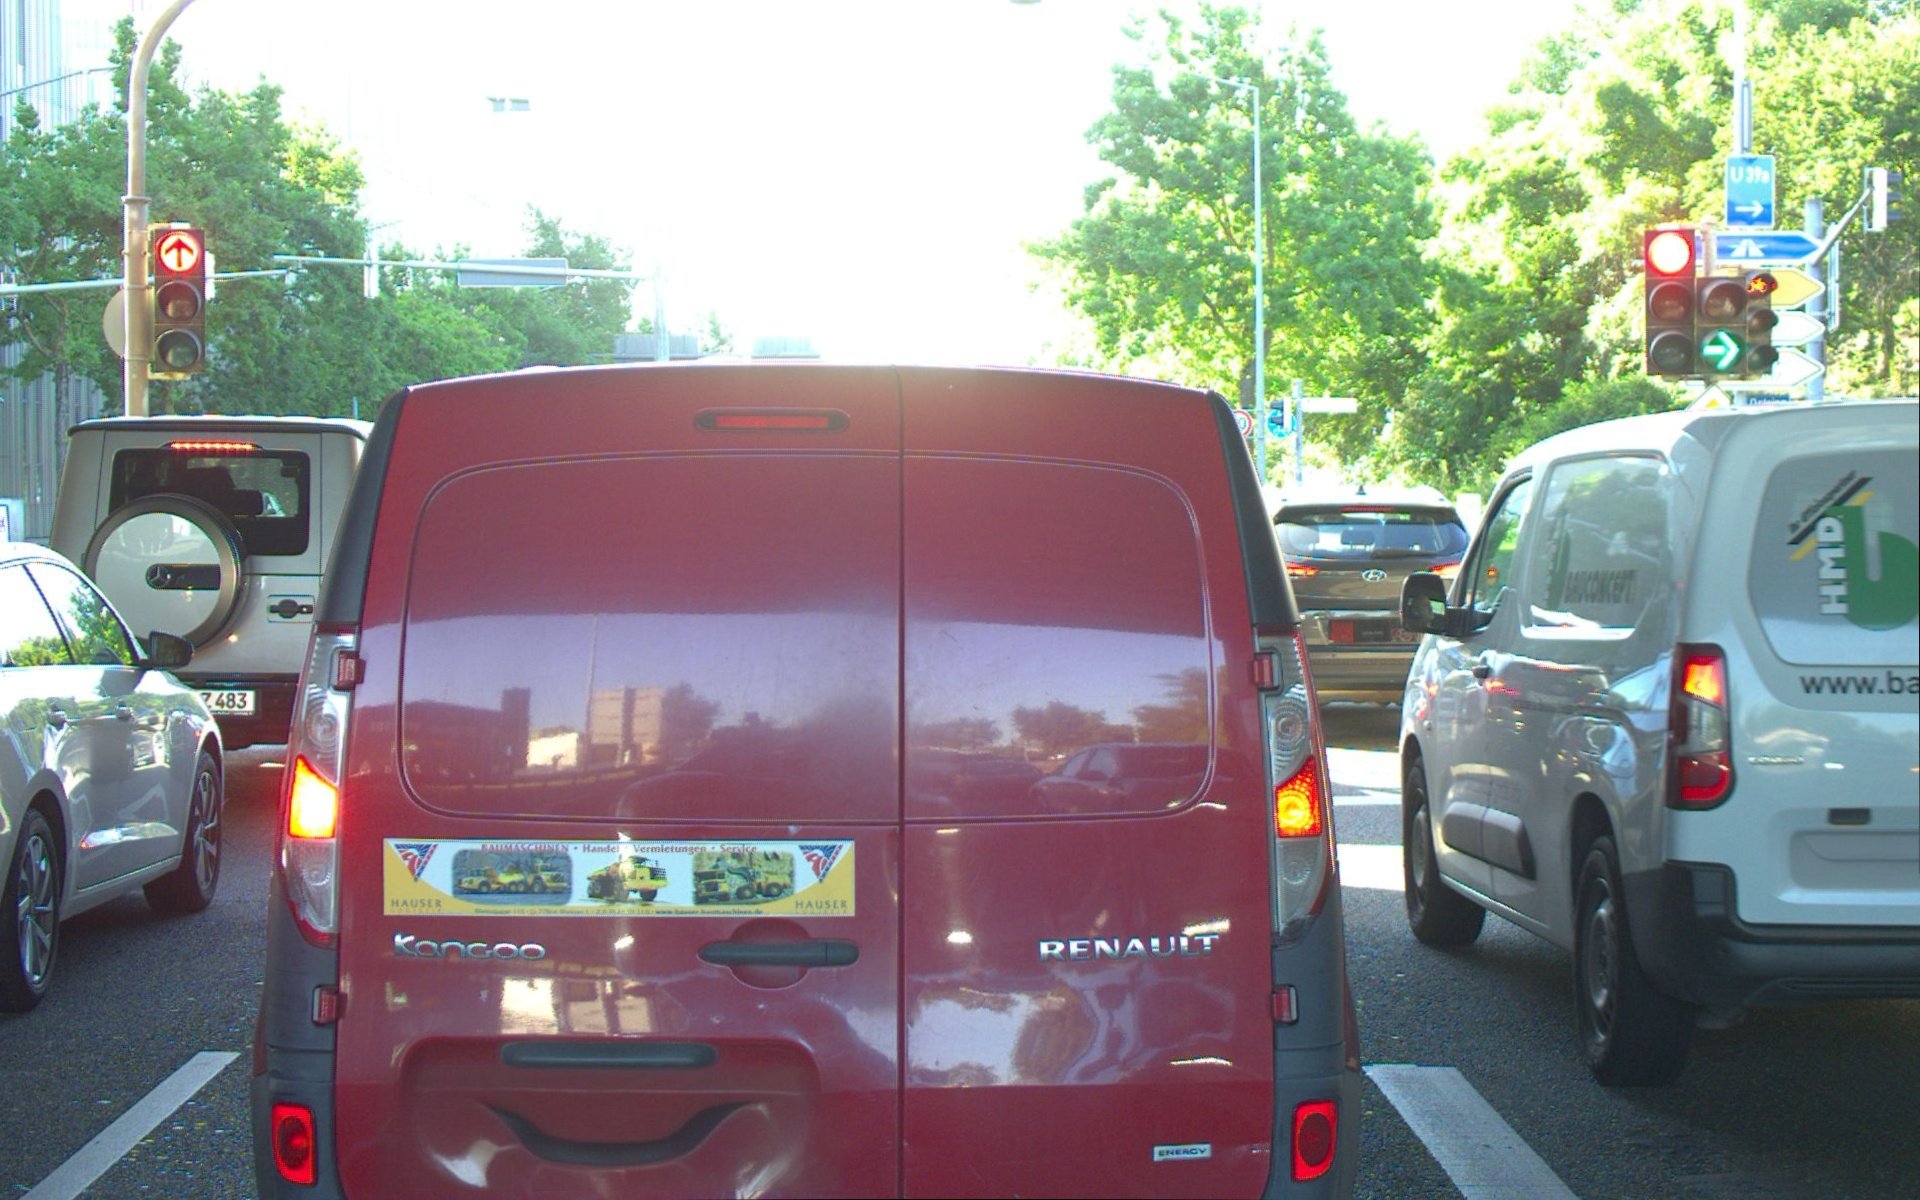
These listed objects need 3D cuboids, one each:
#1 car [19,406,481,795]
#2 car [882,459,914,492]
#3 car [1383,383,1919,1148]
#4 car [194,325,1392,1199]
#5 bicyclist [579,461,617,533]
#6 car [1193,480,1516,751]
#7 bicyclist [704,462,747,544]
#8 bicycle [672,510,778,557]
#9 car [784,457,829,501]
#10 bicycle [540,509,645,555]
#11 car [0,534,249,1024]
[{"bbox_3d":[-3.769,-0.035,18.878,1.813,1.897,3.814,1,1,-1],"label":"car"},{"bbox_3d":[-3.957,-7.999,220.681,1.993,2.007,4.000,1,1,-1],"label":"car"},{"bbox_3d":[2.499,0.320,10.371,1.813,1.827,4.301,0,2,-1],"label":"car"},{"bbox_3d":[-0.269,0.452,6.982,1.719,1.758,4.000,1,1,-1],"label":"car"},{"bbox_3d":[-6.741,-1.912,64.015,0.652,1.325,0.603,1,0,-4],"label":"bicyclist"},{"bbox_3d":[2.597,0.046,23.475,1.778,1.650,3.990,1,1,1],"label":"car"},{"bbox_3d":[-4.393,-1.811,64.409,0.755,1.537,0.697,0,1,0],"label":"bicyclist"},{"bbox_3d":[-4.398,-1.251,64.423,1.953,0.871,0.699,0,1,0],"label":"bicycle"},{"bbox_3d":[-7.433,-5.855,166.362,1.993,2.007,4.000,1,1,-1],"label":"car"},{"bbox_3d":[-6.836,-1.266,64.030,1.912,0.864,0.605,0,1,-4],"label":"bicycle"},{"bbox_3d":[-3.621,0.485,11.489,1.692,1.405,3.813,1,1,0],"label":"car"}]
